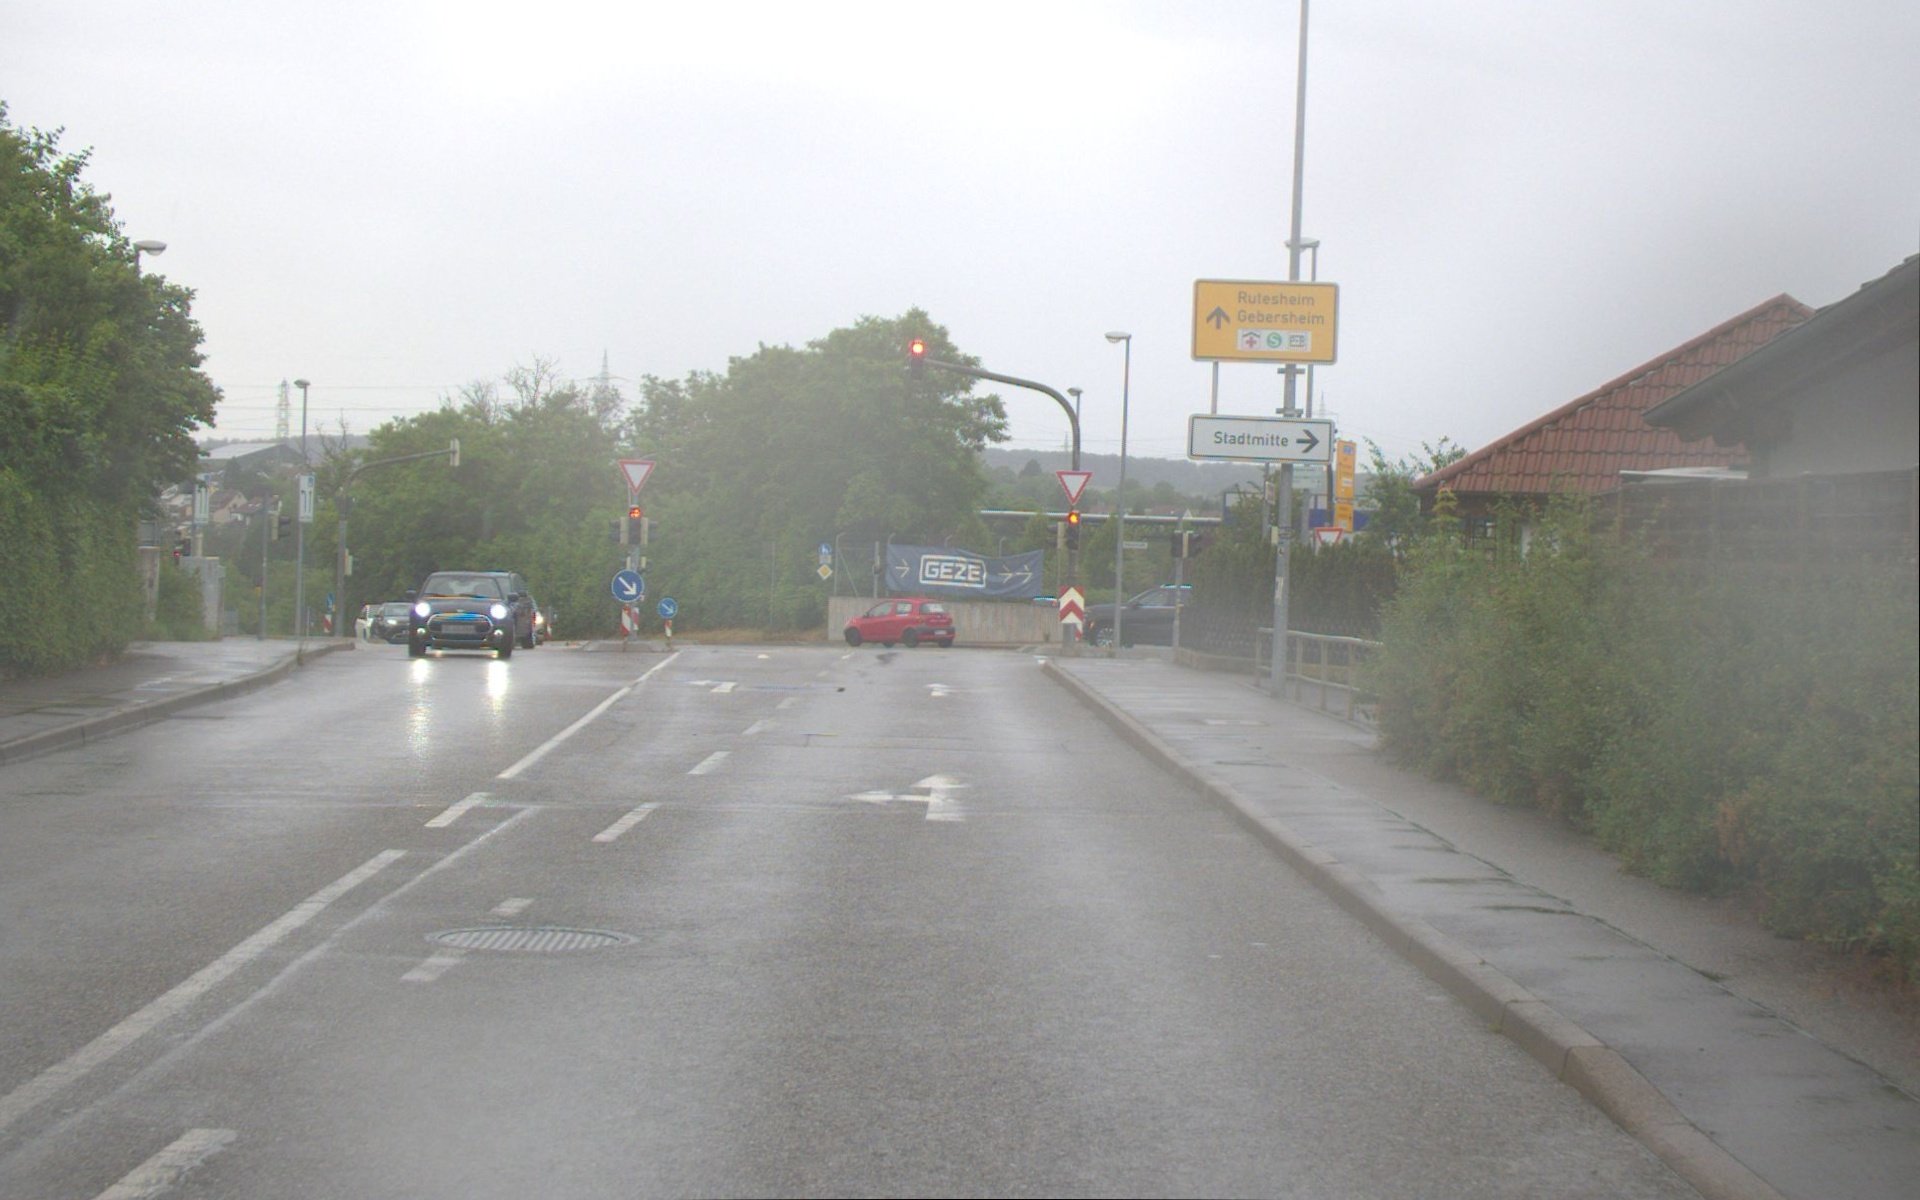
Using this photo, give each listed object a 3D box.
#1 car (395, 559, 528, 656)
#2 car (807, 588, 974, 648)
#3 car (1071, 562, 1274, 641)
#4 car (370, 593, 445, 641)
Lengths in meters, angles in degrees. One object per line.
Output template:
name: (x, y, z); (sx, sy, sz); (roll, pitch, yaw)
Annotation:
car: (-8.456, 0.101, 58.613); (1.805, 1.518, 4.001); (2, 1, -3)
car: (-2.116, 0.560, 103.984); (4.753, 1.684, 2.299); (-1, 1, 44)
car: (5.993, 0.045, 96.571); (5.468, 2.007, 1.999); (-2, 1, 9)
car: (-18.357, 0.543, 114.180); (1.993, 1.459, 4.001); (-1, 2, -16)
